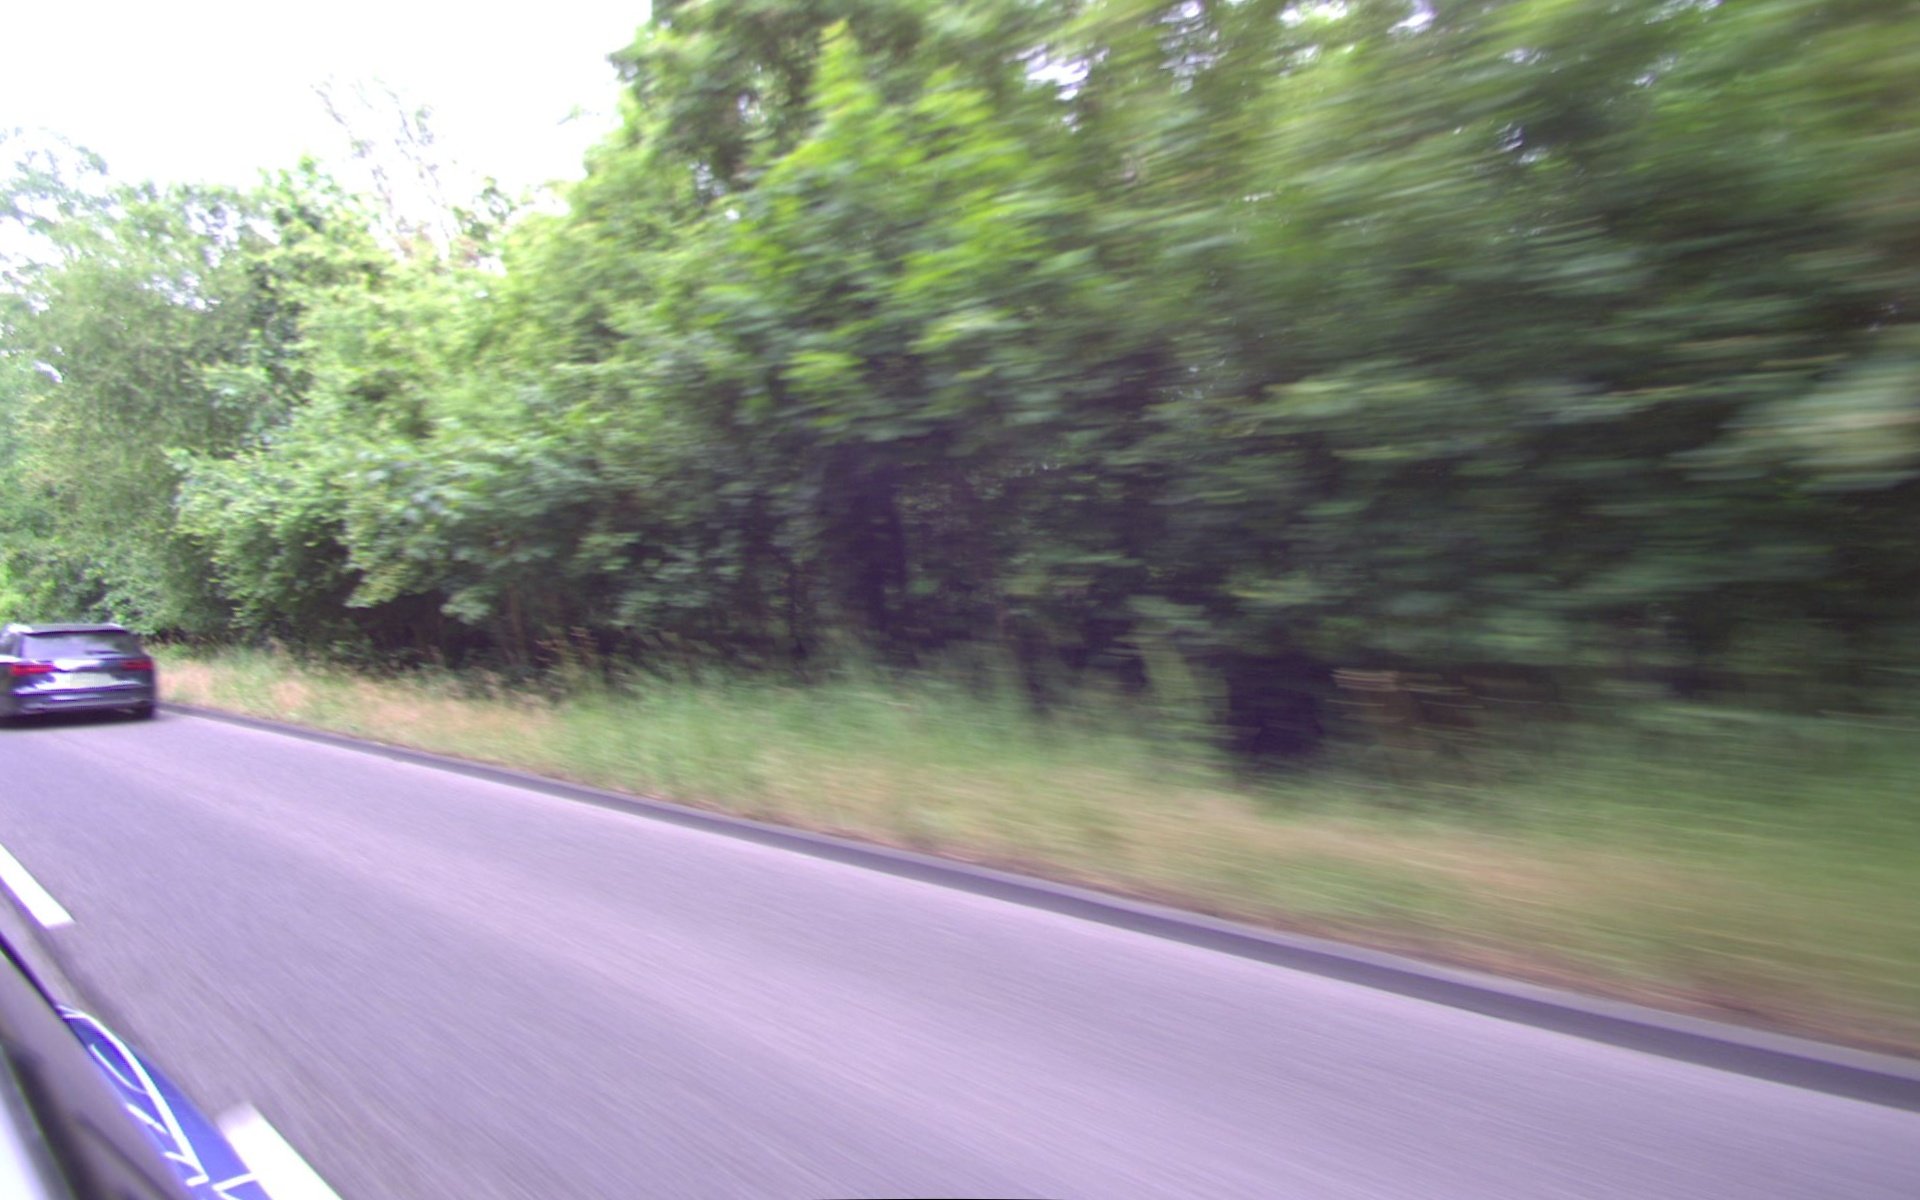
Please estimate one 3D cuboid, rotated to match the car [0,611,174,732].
[{"bbox_3d":[-13.657,0.948,15.209,4.592,1.519,2.009,0,1,40],"label":"car"}]
